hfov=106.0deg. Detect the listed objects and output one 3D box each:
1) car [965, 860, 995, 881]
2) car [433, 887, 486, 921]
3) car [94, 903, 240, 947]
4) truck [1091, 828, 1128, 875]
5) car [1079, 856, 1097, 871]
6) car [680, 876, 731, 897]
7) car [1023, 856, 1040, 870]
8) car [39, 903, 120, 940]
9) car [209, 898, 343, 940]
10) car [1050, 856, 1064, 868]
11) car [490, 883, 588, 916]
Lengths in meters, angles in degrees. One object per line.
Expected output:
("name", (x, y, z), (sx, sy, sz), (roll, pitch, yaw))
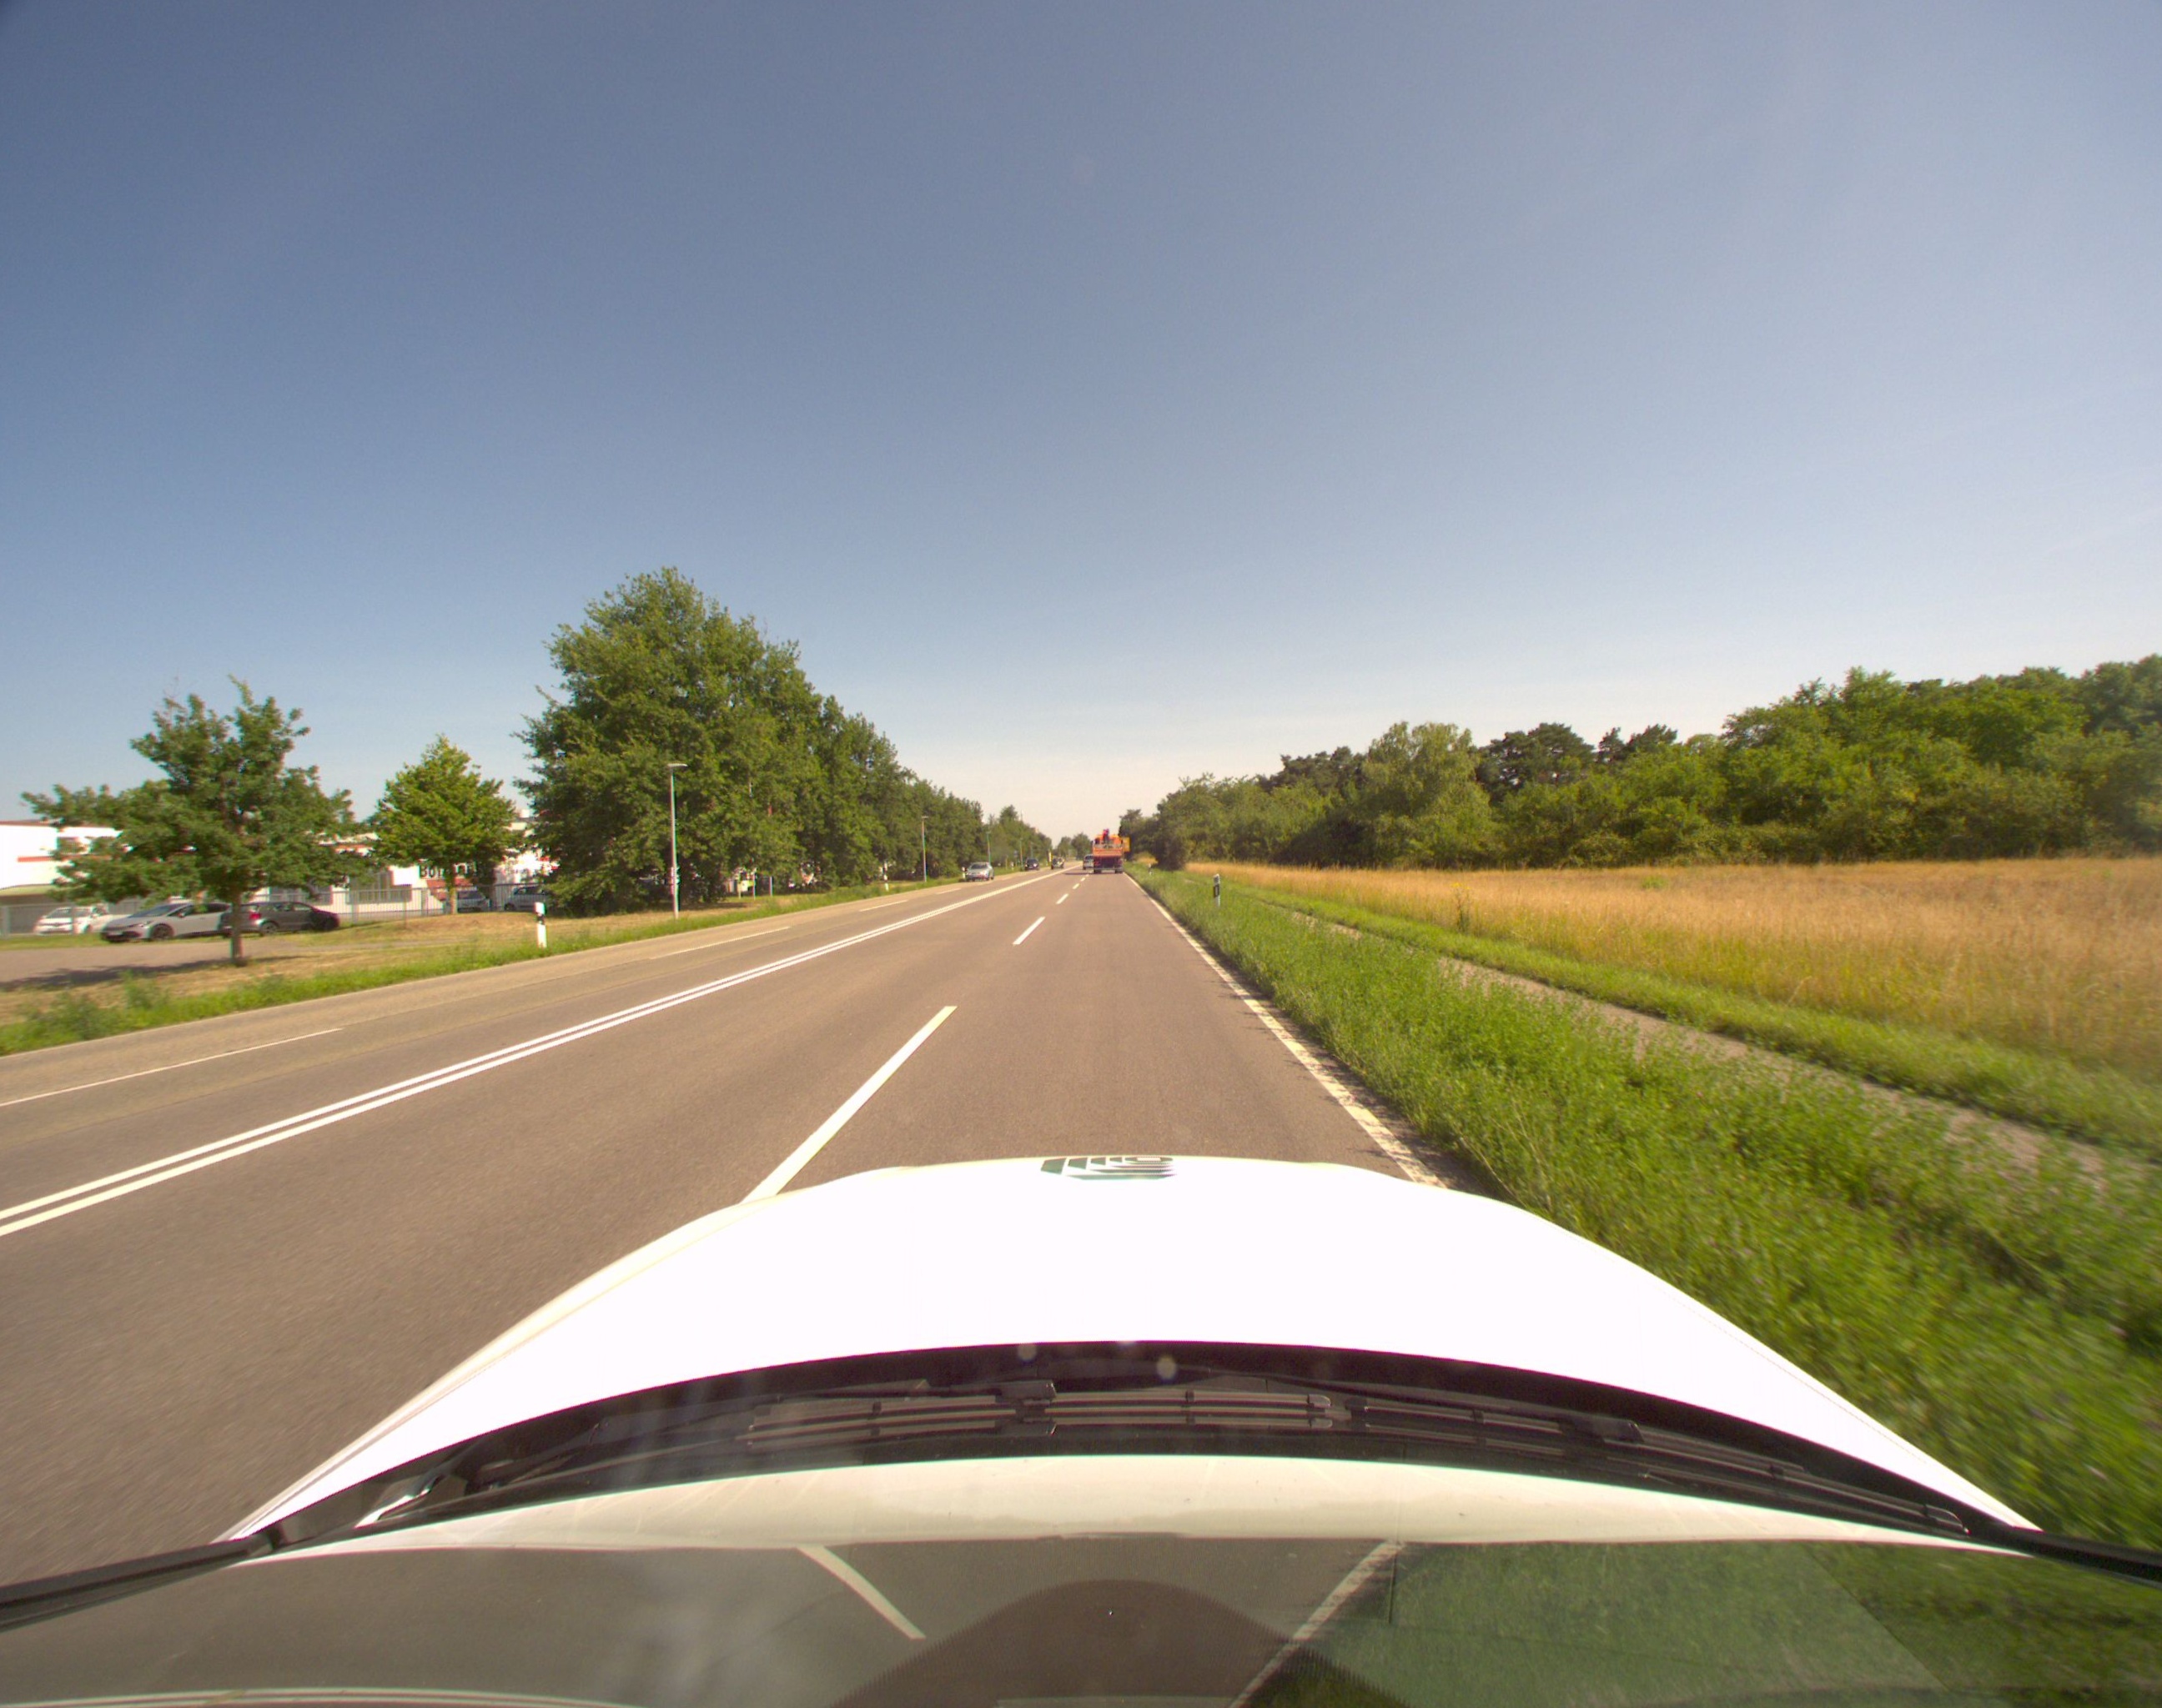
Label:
("car", (-7.710, 1.258, 62.510), (1.592, 1.442, 4.001), (-4, 0, 1))
("car", (-31.029, 2.475, 40.599), (1.750, 1.500, 3.951), (-3, 0, -42))
("car", (-37.216, 2.864, 33.305), (1.630, 1.410, 3.723), (-3, 0, 1))
("truck", (2.376, -0.194, 70.595), (2.863, 3.880, 7.397), (0, 0, -1))
("car", (0.759, 1.025, 92.253), (1.987, 1.583, 3.999), (-2, 0, 0))
("car", (-29.367, 2.537, 63.823), (1.782, 1.349, 4.661), (-4, 0, -1))
("car", (-6.478, 1.207, 106.950), (1.819, 1.671, 4.389), (-4, 0, 1))
("car", (-50.206, 3.345, 40.897), (1.473, 1.559, 3.351), (-3, 0, -31))
("car", (-32.675, 2.599, 33.205), (1.630, 1.390, 3.723), (-3, 0, 1))
("car", (-3.187, 1.092, 108.624), (1.511, 1.450, 3.776), (-4, 0, 1))
("car", (-29.039, 2.412, 43.714), (3.973, 1.500, 1.758), (-3, 0, 1))
